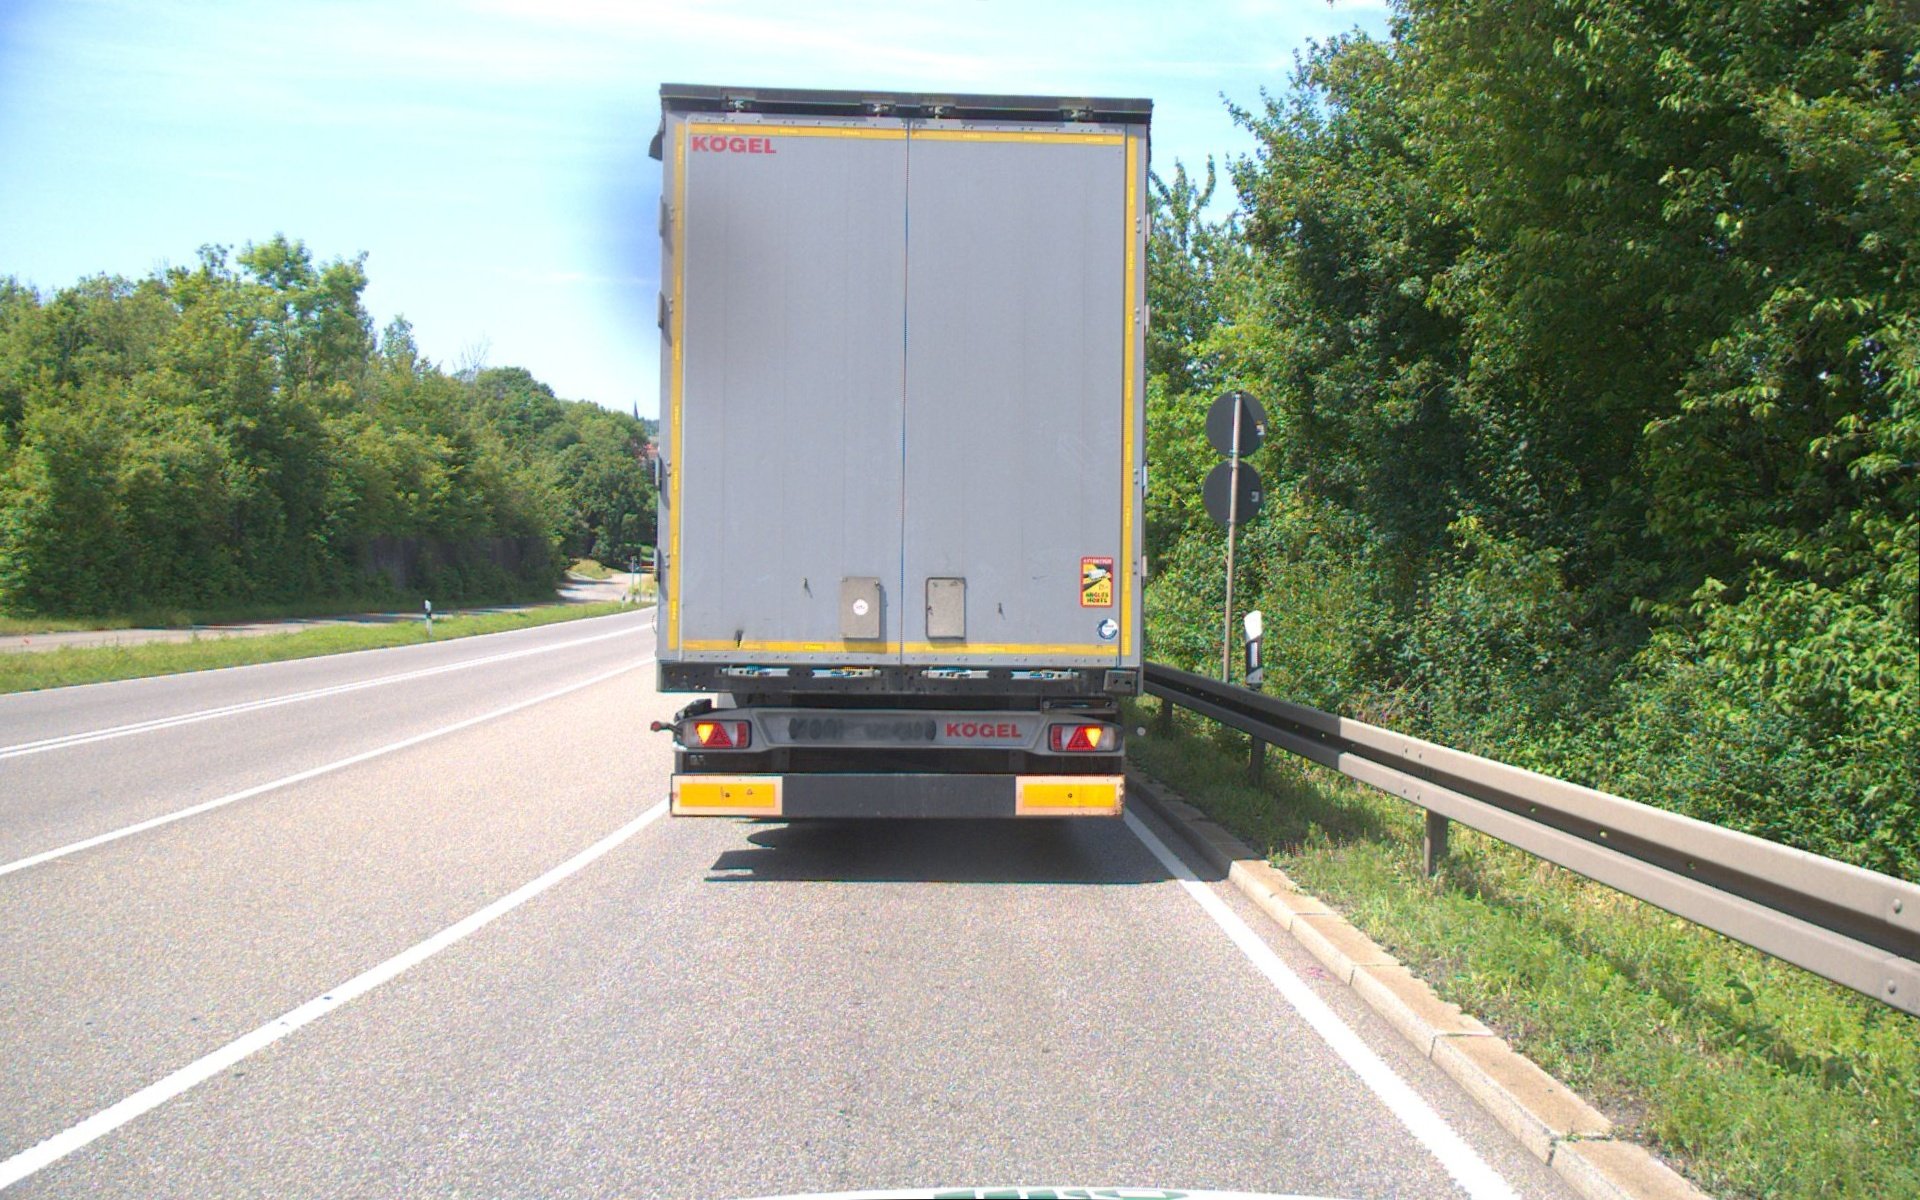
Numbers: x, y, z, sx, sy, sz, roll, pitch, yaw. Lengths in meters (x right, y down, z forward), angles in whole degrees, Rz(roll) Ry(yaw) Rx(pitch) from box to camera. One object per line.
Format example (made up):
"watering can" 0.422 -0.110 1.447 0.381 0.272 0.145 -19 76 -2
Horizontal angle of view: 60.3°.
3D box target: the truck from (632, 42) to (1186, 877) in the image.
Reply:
"truck" -0.406 -0.727 14.154 2.701 4.100 11.920 1 0 -2
